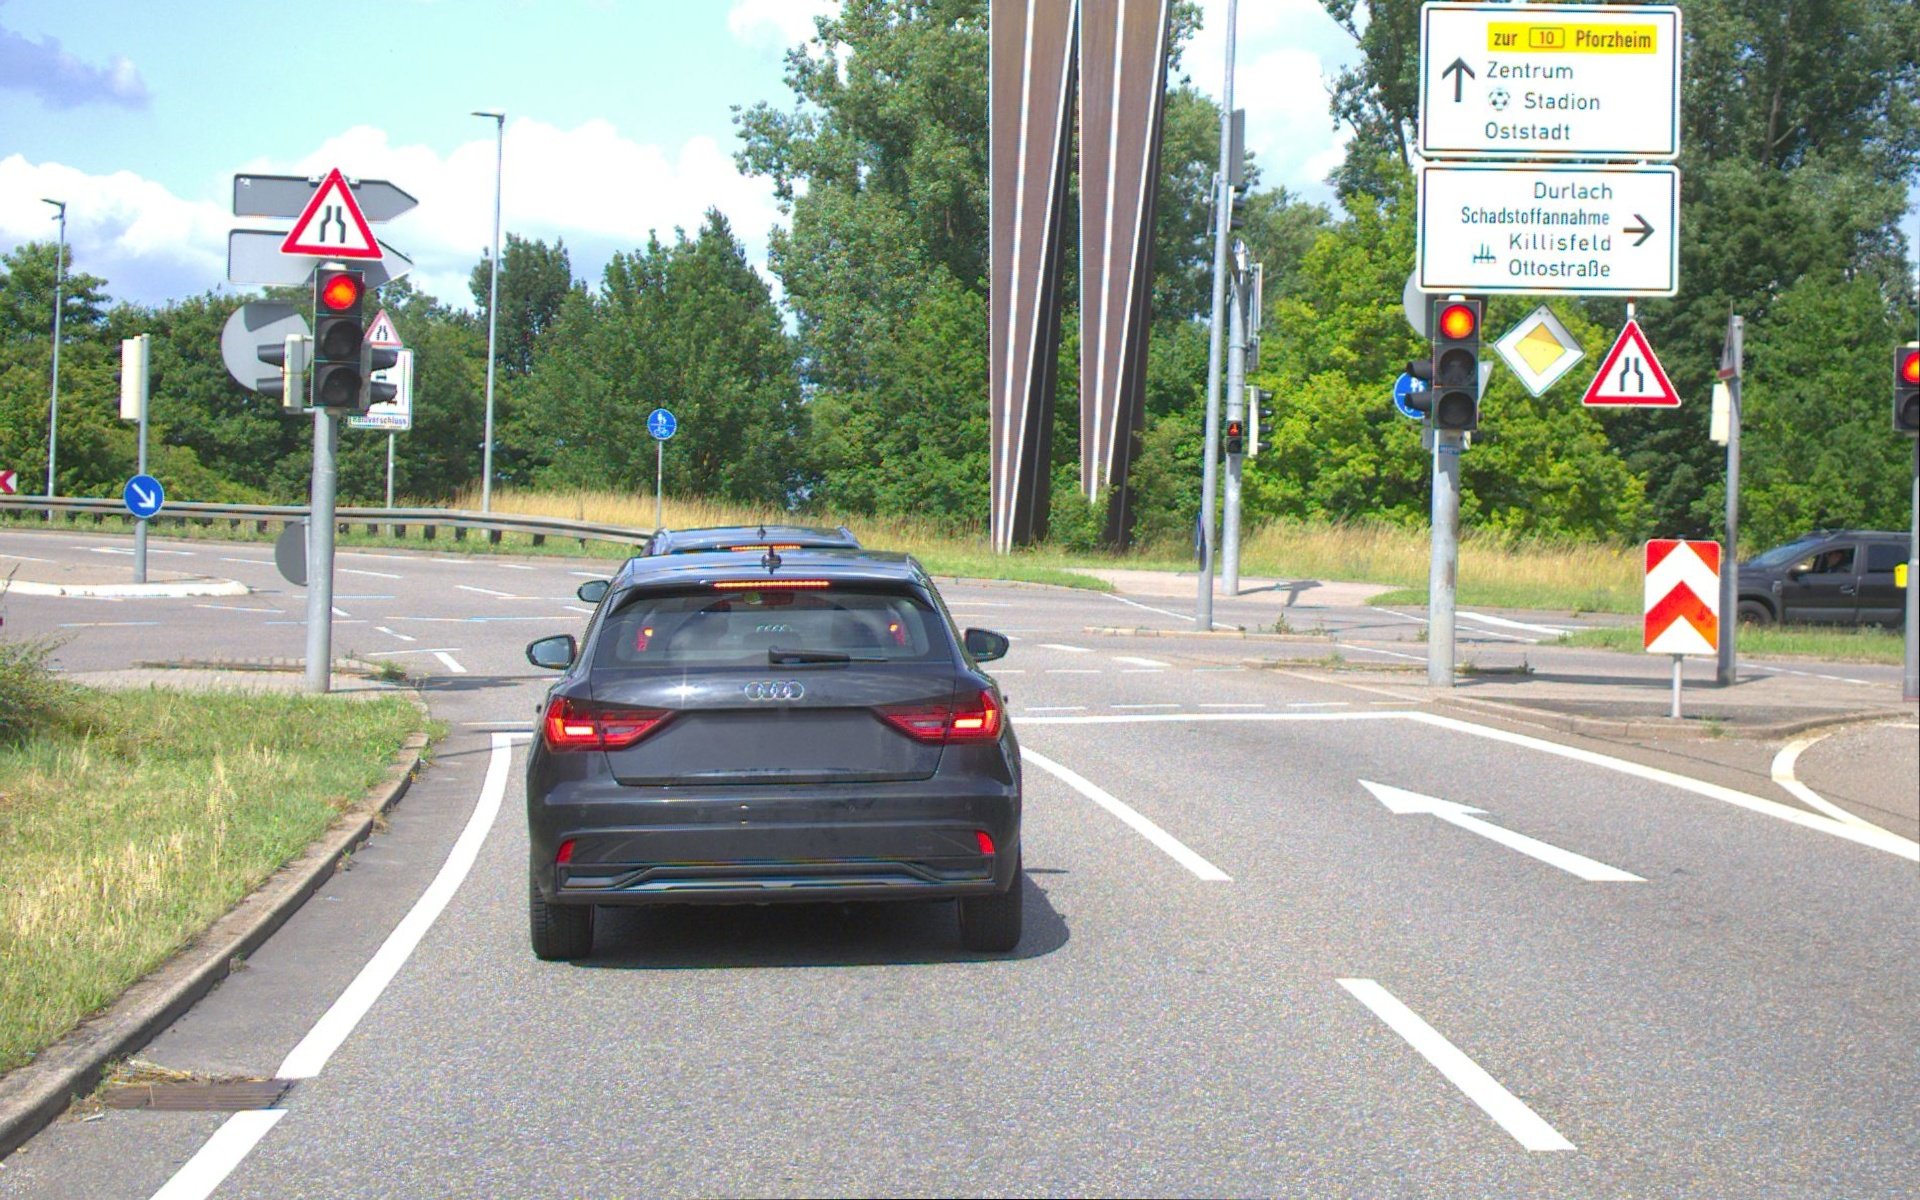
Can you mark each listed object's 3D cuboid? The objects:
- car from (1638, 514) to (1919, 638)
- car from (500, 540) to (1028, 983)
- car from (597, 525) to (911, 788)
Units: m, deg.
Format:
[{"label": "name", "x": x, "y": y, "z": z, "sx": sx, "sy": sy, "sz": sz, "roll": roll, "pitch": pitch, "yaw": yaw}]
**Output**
[{"label": "car", "x": 11.415, "y": -0.325, "z": 45.965, "sx": 4.267, "sy": 1.539, "sz": 1.737, "roll": 1, "pitch": 1, "yaw": -3}, {"label": "car", "x": -0.727, "y": 0.496, "z": 13.328, "sx": 1.726, "sy": 1.399, "sz": 4.001, "roll": 0, "pitch": 2, "yaw": -2}, {"label": "car", "x": -1.344, "y": 0.270, "z": 21.084, "sx": 1.726, "sy": 1.418, "sz": 3.845, "roll": -1, "pitch": 2, "yaw": -6}]
